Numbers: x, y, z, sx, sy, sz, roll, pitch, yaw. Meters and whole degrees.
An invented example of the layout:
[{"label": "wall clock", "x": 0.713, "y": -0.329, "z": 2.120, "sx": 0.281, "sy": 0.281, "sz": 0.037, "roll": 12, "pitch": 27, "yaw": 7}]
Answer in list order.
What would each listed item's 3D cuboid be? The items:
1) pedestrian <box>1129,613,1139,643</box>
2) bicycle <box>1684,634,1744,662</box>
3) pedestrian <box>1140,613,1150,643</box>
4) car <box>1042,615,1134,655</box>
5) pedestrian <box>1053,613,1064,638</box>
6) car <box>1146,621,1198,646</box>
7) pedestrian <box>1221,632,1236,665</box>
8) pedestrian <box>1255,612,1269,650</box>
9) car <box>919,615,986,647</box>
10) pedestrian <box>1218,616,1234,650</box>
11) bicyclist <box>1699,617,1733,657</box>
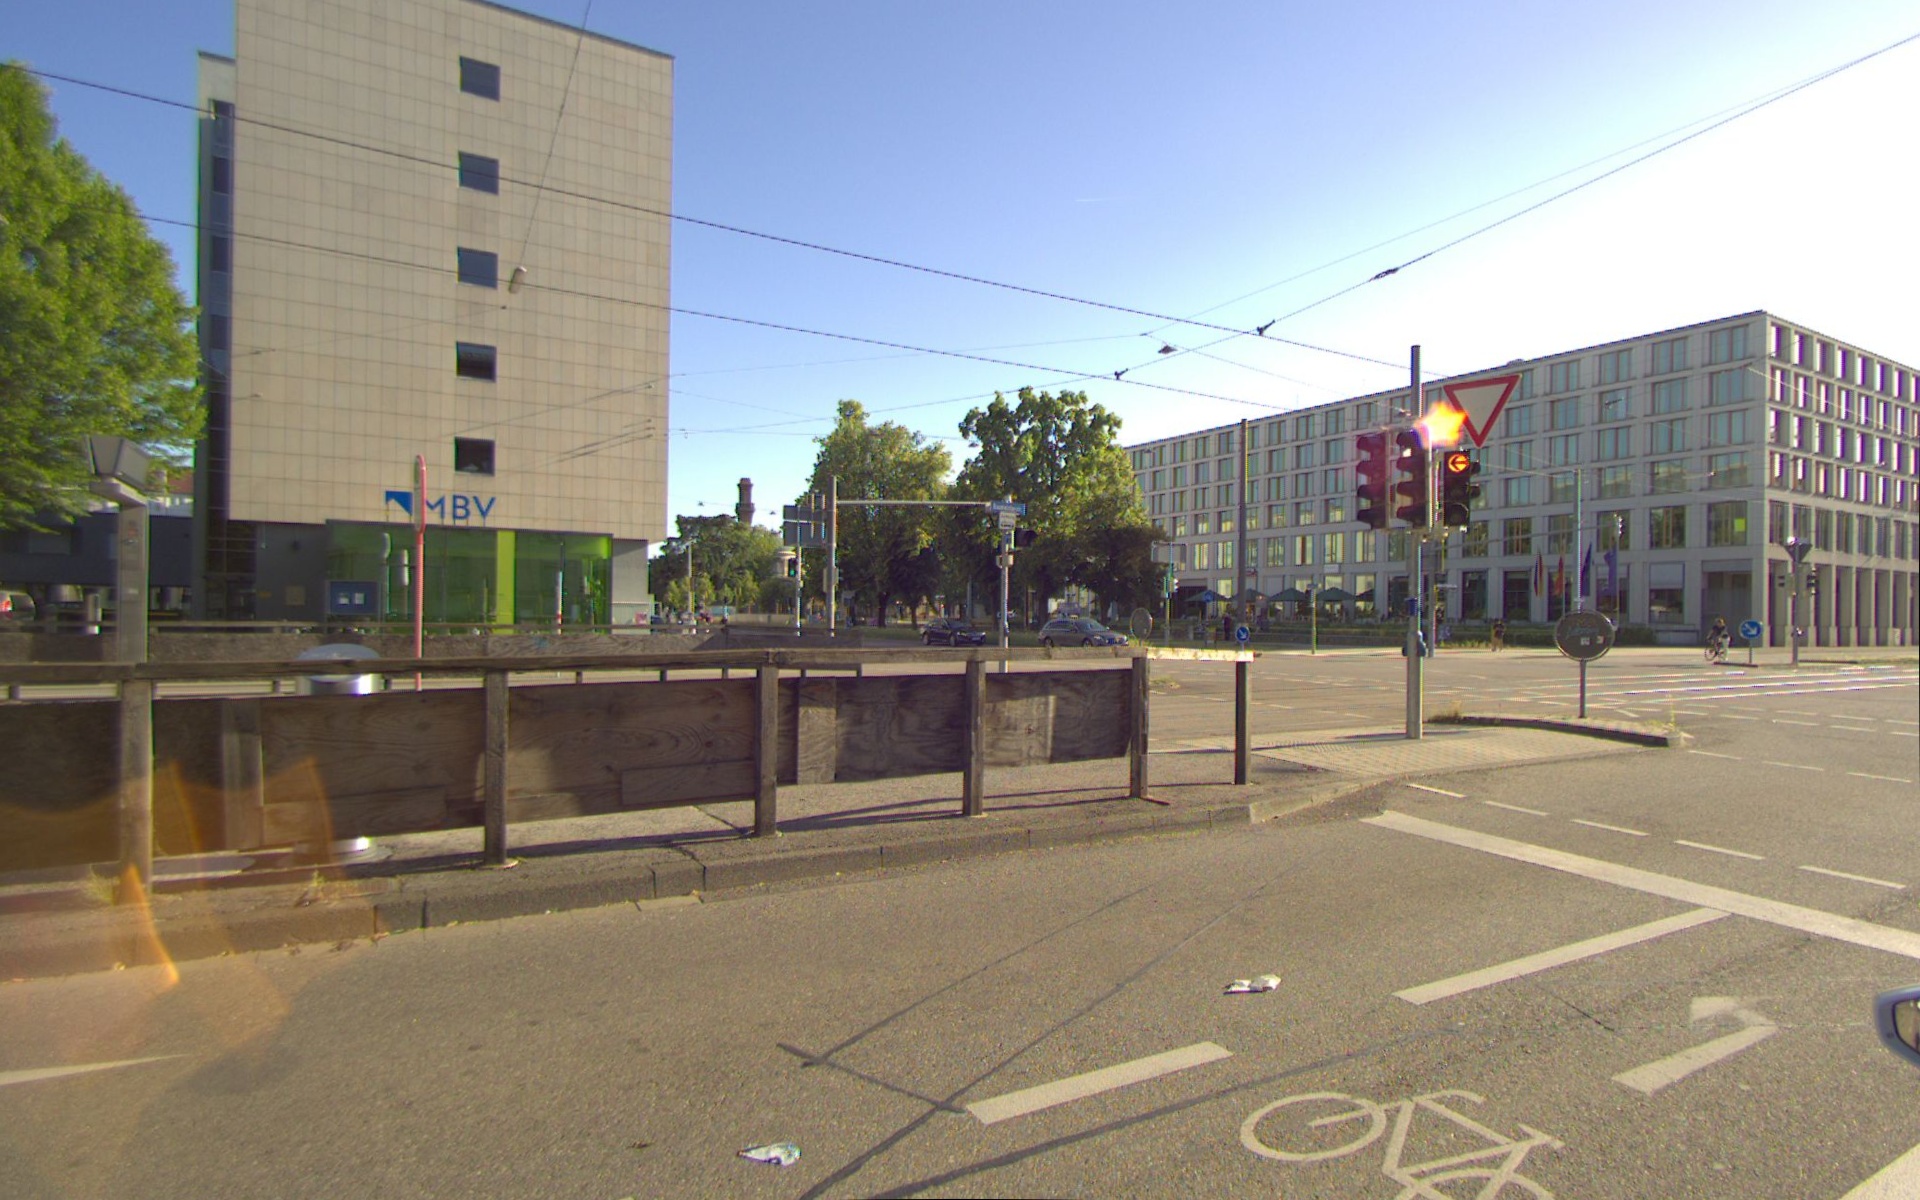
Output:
[{"label": "pedestrian", "x": 11.857, "y": 1.908, "z": 68.522, "sx": 0.483, "sy": 2.040, "sz": 0.493, "roll": 1, "pitch": -1, "yaw": -17}, {"label": "bicycle", "x": 31.758, "y": 1.994, "z": 42.293, "sx": 2.976, "sy": 1.136, "sz": 0.871, "roll": 1, "pitch": -1, "yaw": -29}, {"label": "pedestrian", "x": 12.672, "y": 1.934, "z": 68.831, "sx": 0.483, "sy": 2.040, "sz": 0.493, "roll": 1, "pitch": -1, "yaw": -17}, {"label": "car", "x": 5.387, "y": 1.460, "z": 42.851, "sx": 1.708, "sy": 1.595, "sz": 4.140, "roll": 1, "pitch": -1, "yaw": -31}, {"label": "pedestrian", "x": 7.511, "y": 1.925, "z": 76.530, "sx": 0.672, "sy": 1.928, "sz": 0.560, "roll": 1, "pitch": -1, "yaw": -21}, {"label": "car", "x": 13.366, "y": 2.102, "z": 63.409, "sx": 1.455, "sy": 1.457, "sz": 3.167, "roll": 1, "pitch": -1, "yaw": -32}, {"label": "pedestrian", "x": 17.085, "y": 3.094, "z": 63.940, "sx": 0.793, "sy": 2.040, "sz": 0.526, "roll": 1, "pitch": -1, "yaw": -36}, {"label": "pedestrian", "x": 18.439, "y": 1.872, "z": 61.337, "sx": 0.528, "sy": 2.310, "sz": 0.565, "roll": 1, "pitch": -1, "yaw": -36}, {"label": "car", "x": -0.419, "y": 1.584, "z": 52.785, "sx": 1.801, "sy": 1.595, "sz": 3.967, "roll": 0, "pitch": 0, "yaw": -31}, {"label": "pedestrian", "x": 16.442, "y": 2.054, "z": 62.100, "sx": 0.644, "sy": 2.096, "sz": 0.645, "roll": 1, "pitch": -1, "yaw": -36}, {"label": "bicyclist", "x": 31.885, "y": 1.543, "z": 42.370, "sx": 0.812, "sy": 1.663, "sz": 0.872, "roll": 1, "pitch": -1, "yaw": -29}]
